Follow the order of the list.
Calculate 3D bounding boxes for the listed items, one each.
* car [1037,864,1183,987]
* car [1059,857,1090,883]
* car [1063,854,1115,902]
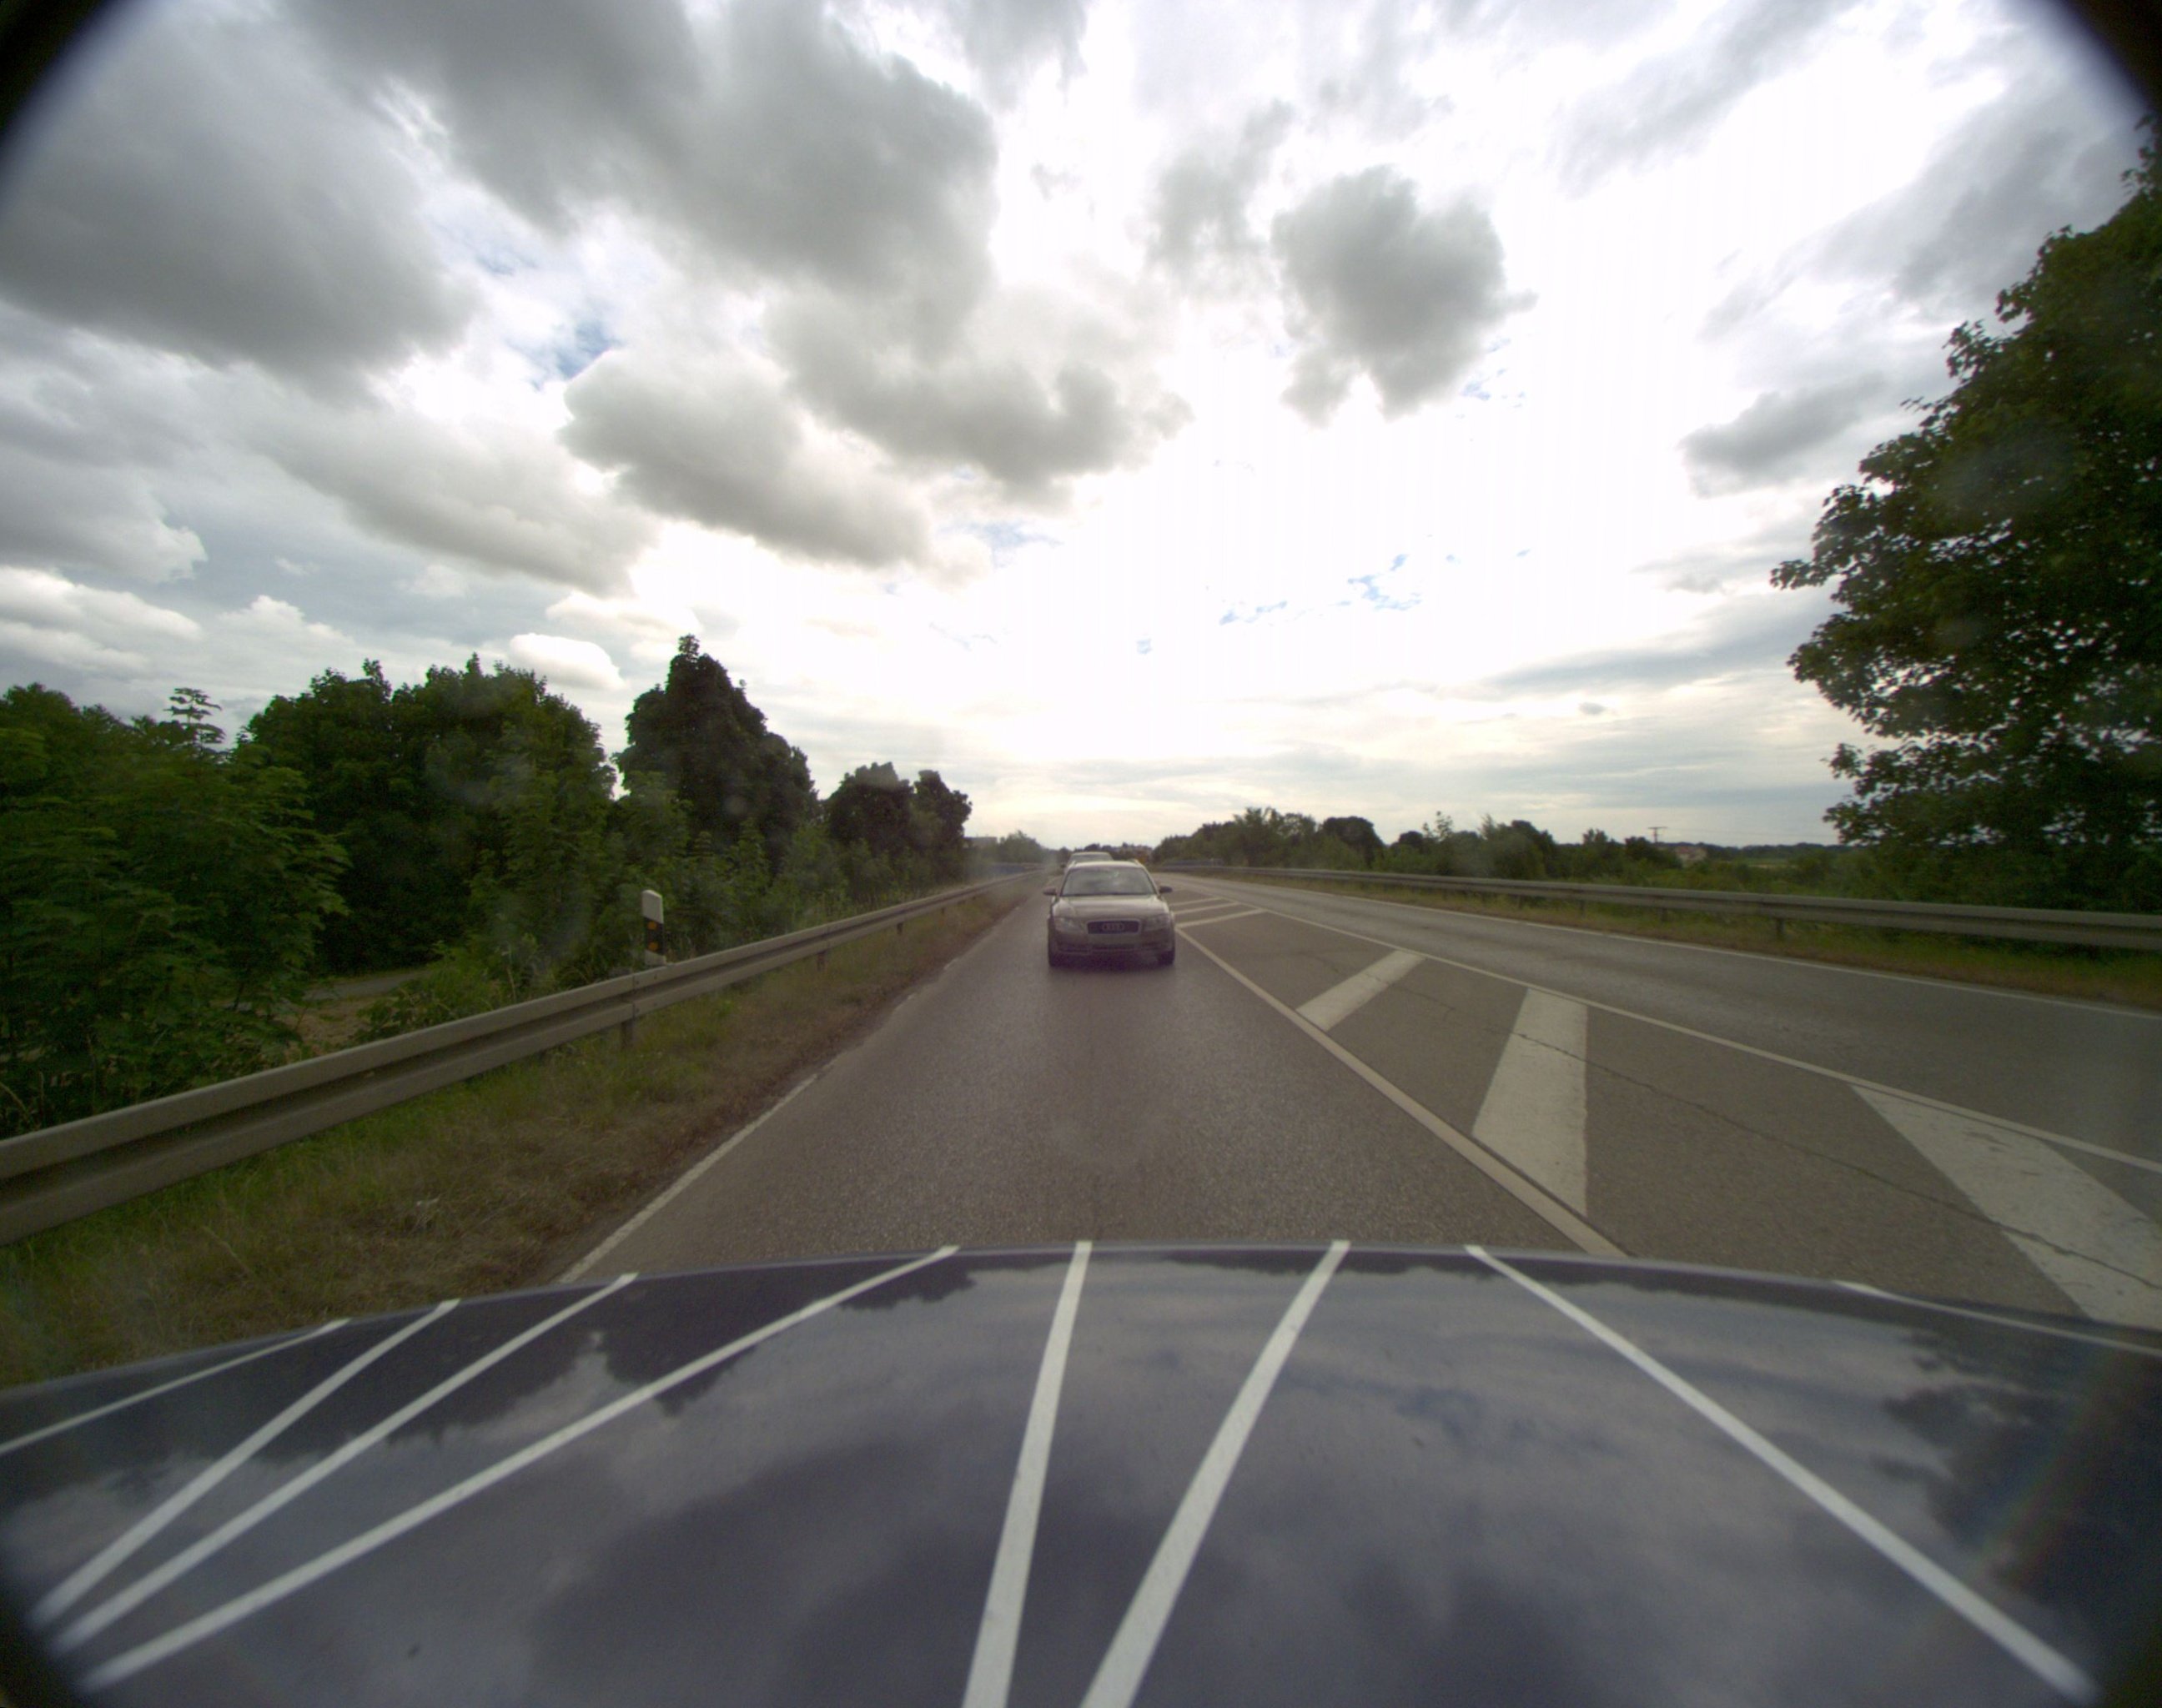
[{"bbox_3d":[0.342,0.916,11.362,1.768,1.383,3.876,-2,1,-1],"label":"car"},{"bbox_3d":[-0.375,0.893,43.794,1.670,1.339,4.000,-2,0,0],"label":"car"},{"bbox_3d":[0.286,0.771,26.345,1.603,1.494,3.962,-2,0,1],"label":"car"}]
